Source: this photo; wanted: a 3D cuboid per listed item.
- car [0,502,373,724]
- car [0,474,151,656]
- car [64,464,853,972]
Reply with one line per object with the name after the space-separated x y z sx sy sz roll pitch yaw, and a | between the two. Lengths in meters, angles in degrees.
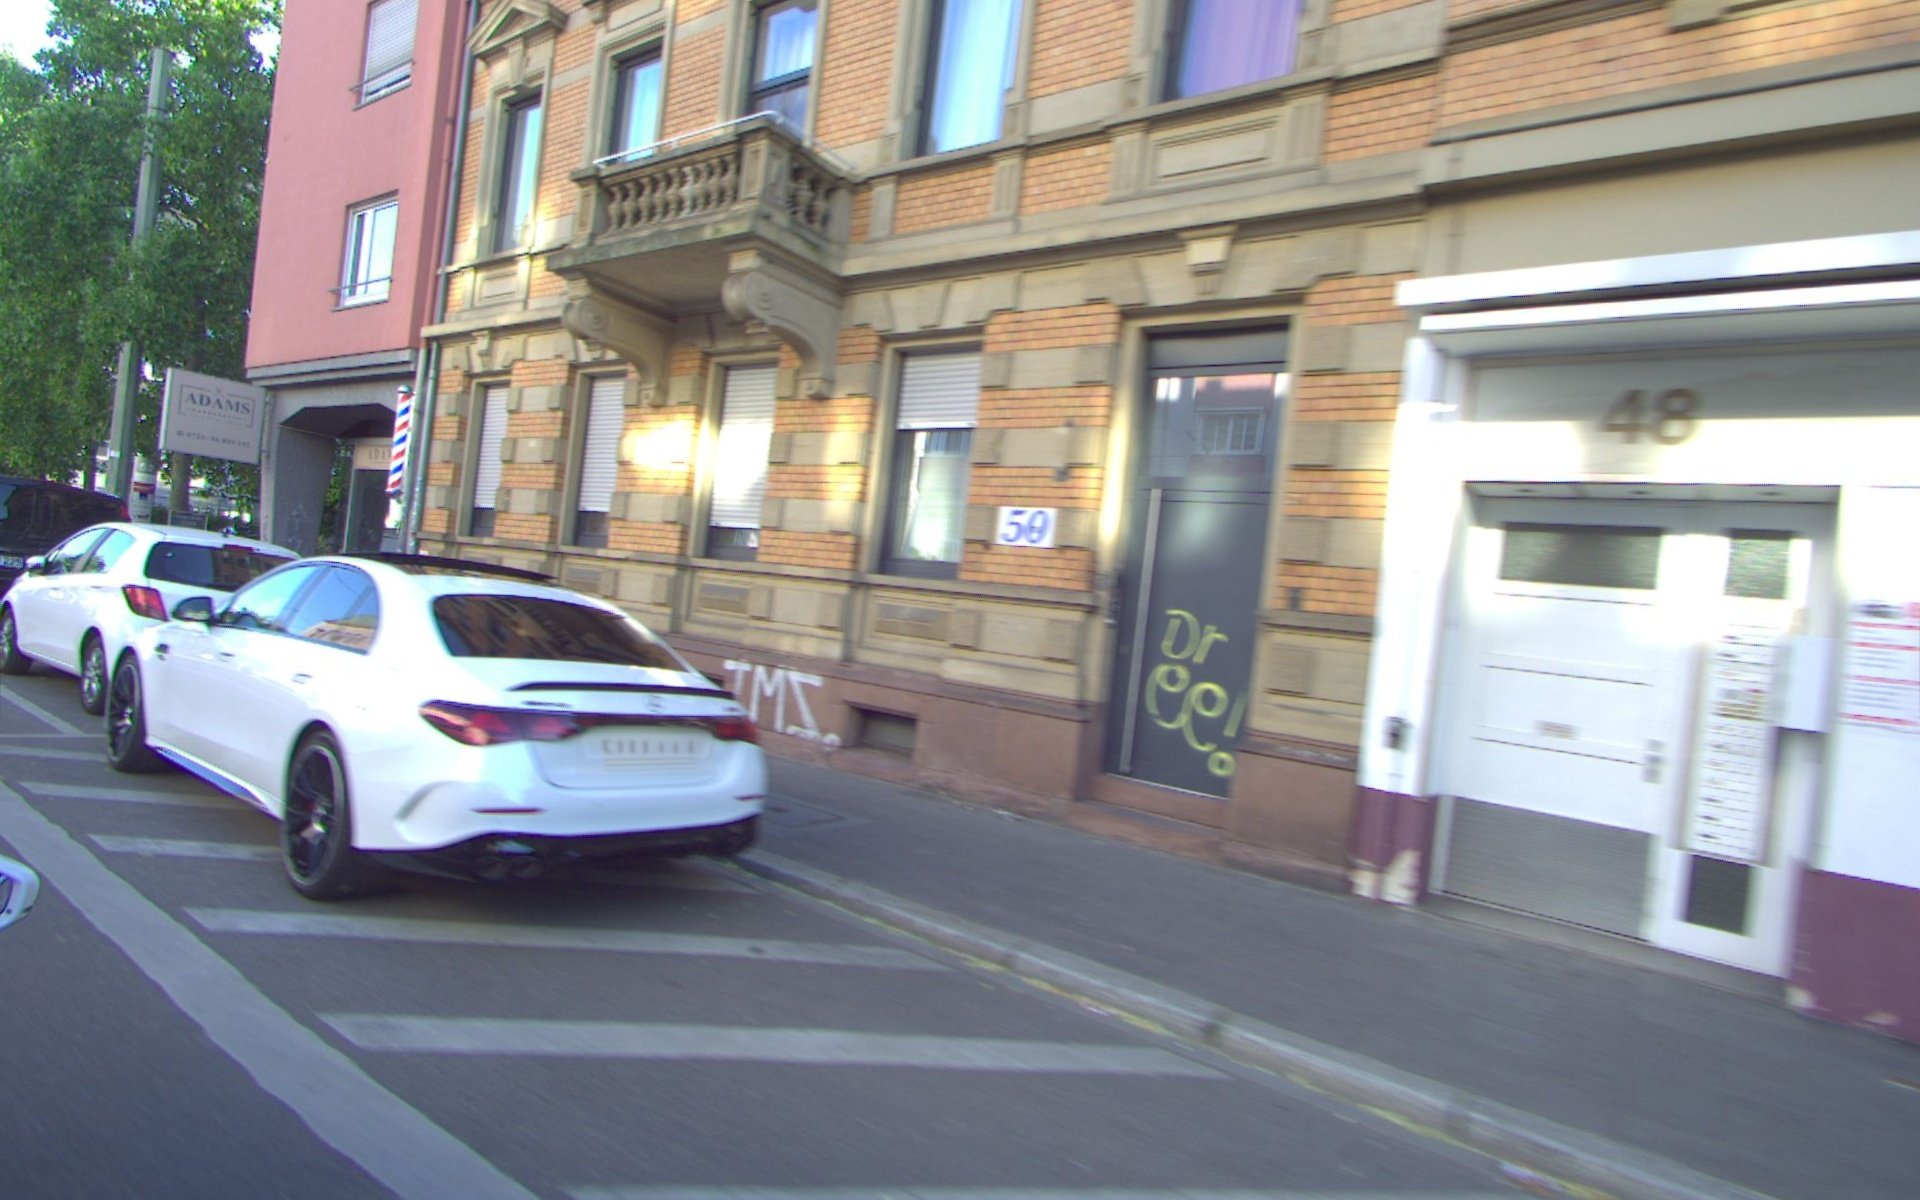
-7.312 0.069 9.184 3.899 1.512 1.733 6 -3 34 | car
-12.362 -0.576 12.792 4.914 1.889 1.957 5 -3 38 | car
-3.134 0.354 5.779 4.802 1.791 1.968 5 -3 37 | car
